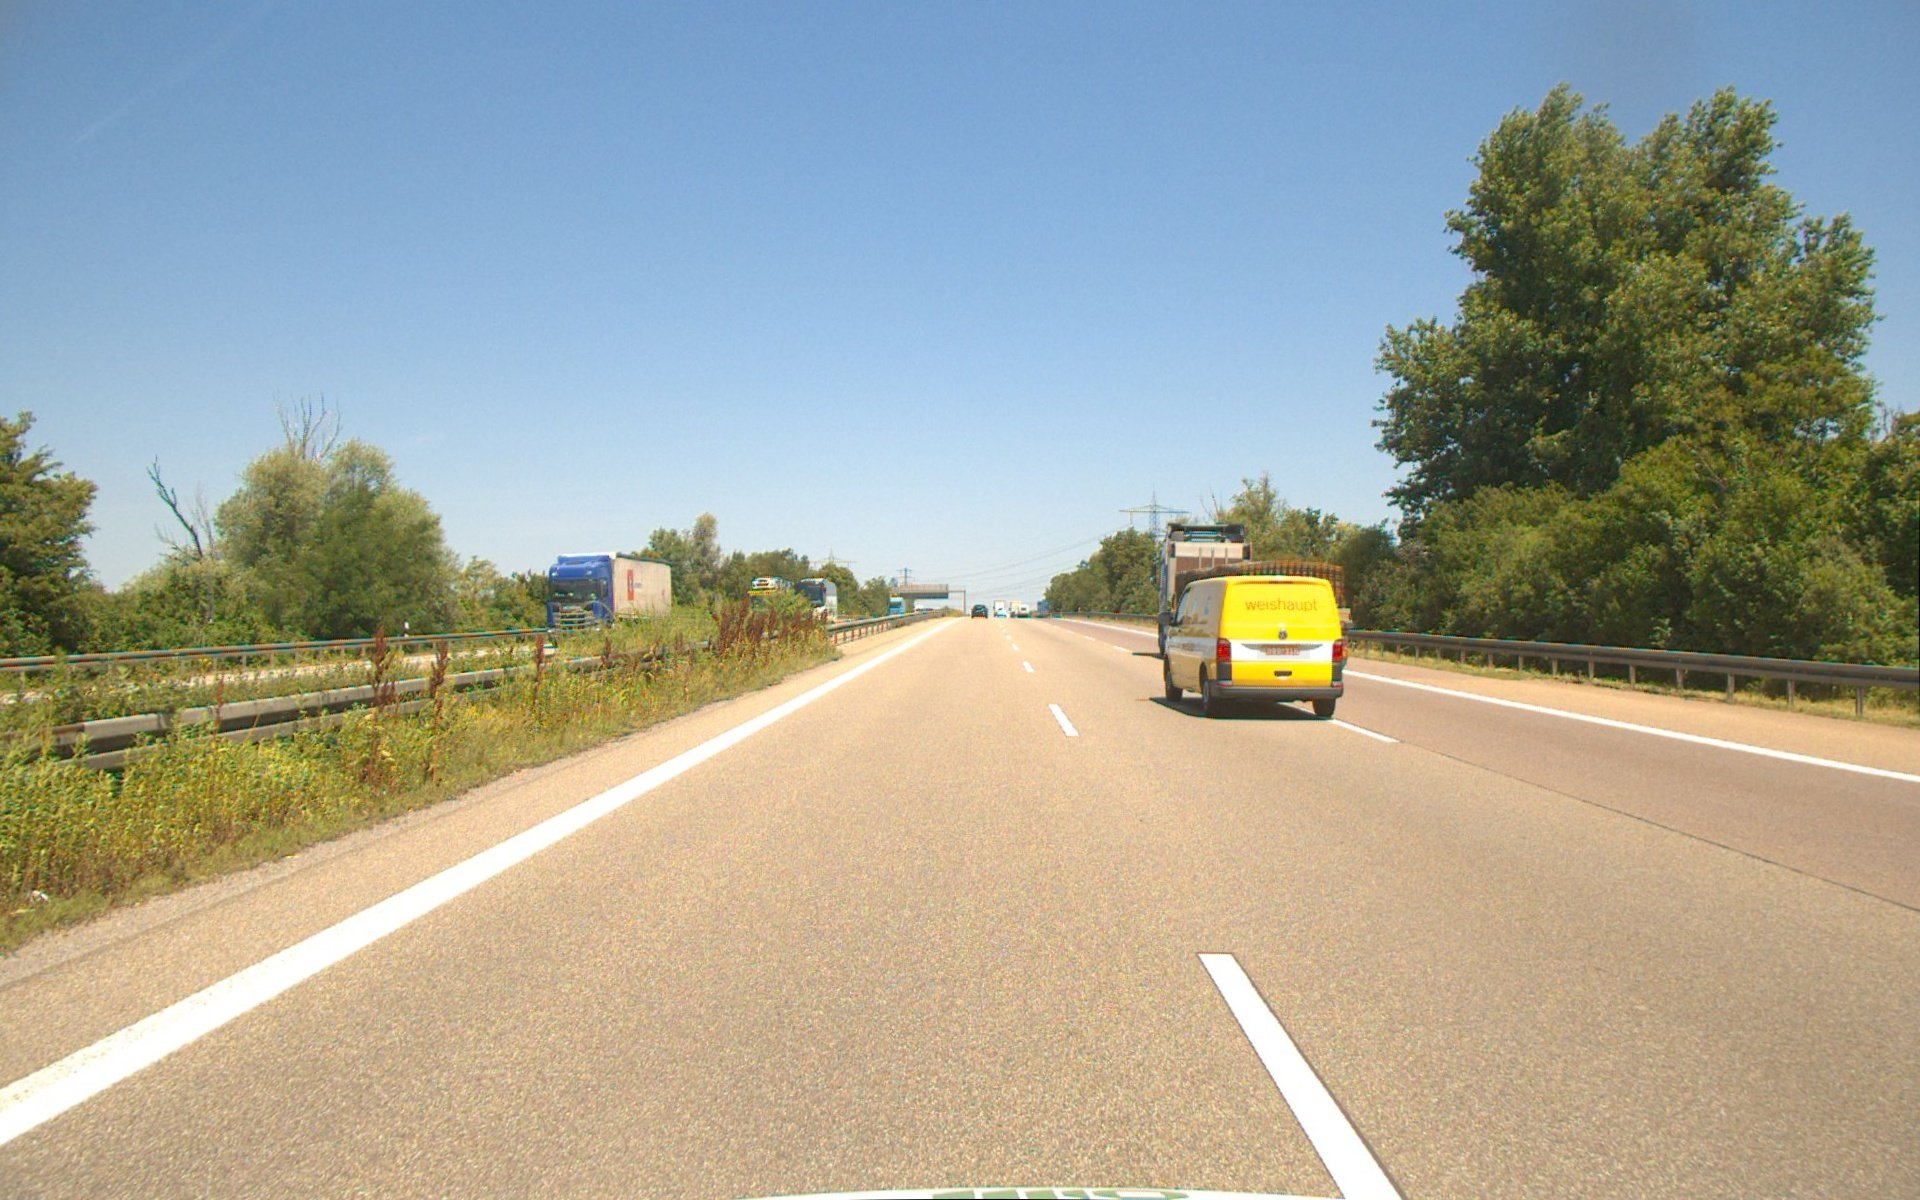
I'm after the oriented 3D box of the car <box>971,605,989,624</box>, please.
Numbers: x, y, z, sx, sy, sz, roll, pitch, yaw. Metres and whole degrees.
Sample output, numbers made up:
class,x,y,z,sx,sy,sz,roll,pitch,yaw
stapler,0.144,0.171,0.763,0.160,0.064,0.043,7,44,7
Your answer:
class,x,y,z,sx,sy,sz,roll,pitch,yaw
car,2.147,1.549,176.462,1.754,2.049,3.888,1,-1,1

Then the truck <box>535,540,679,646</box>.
class,x,y,z,sx,sy,sz,roll,pitch,yaw
truck,-16.869,-0.266,80.744,2.895,4.417,17.470,-4,0,0

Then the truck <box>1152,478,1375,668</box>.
class,x,y,z,sx,sy,sz,roll,pitch,yaw
truck,7.461,-0.476,43.748,2.908,4.026,16.612,1,-1,0

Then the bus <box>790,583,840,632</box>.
class,x,y,z,sx,sy,sz,roll,pitch,yaw
bus,-11.609,0.548,133.667,2.639,3.646,12.794,-3,0,1

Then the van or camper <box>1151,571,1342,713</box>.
class,x,y,z,sx,sy,sz,roll,pitch,yaw
van or camper,4.285,0.589,25.577,1.953,1.942,4.969,1,0,-2

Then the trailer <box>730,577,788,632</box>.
class,x,y,z,sx,sy,sz,roll,pitch,yaw
trailer,-15.771,0.362,130.595,2.861,4.037,11.651,-2,0,1
